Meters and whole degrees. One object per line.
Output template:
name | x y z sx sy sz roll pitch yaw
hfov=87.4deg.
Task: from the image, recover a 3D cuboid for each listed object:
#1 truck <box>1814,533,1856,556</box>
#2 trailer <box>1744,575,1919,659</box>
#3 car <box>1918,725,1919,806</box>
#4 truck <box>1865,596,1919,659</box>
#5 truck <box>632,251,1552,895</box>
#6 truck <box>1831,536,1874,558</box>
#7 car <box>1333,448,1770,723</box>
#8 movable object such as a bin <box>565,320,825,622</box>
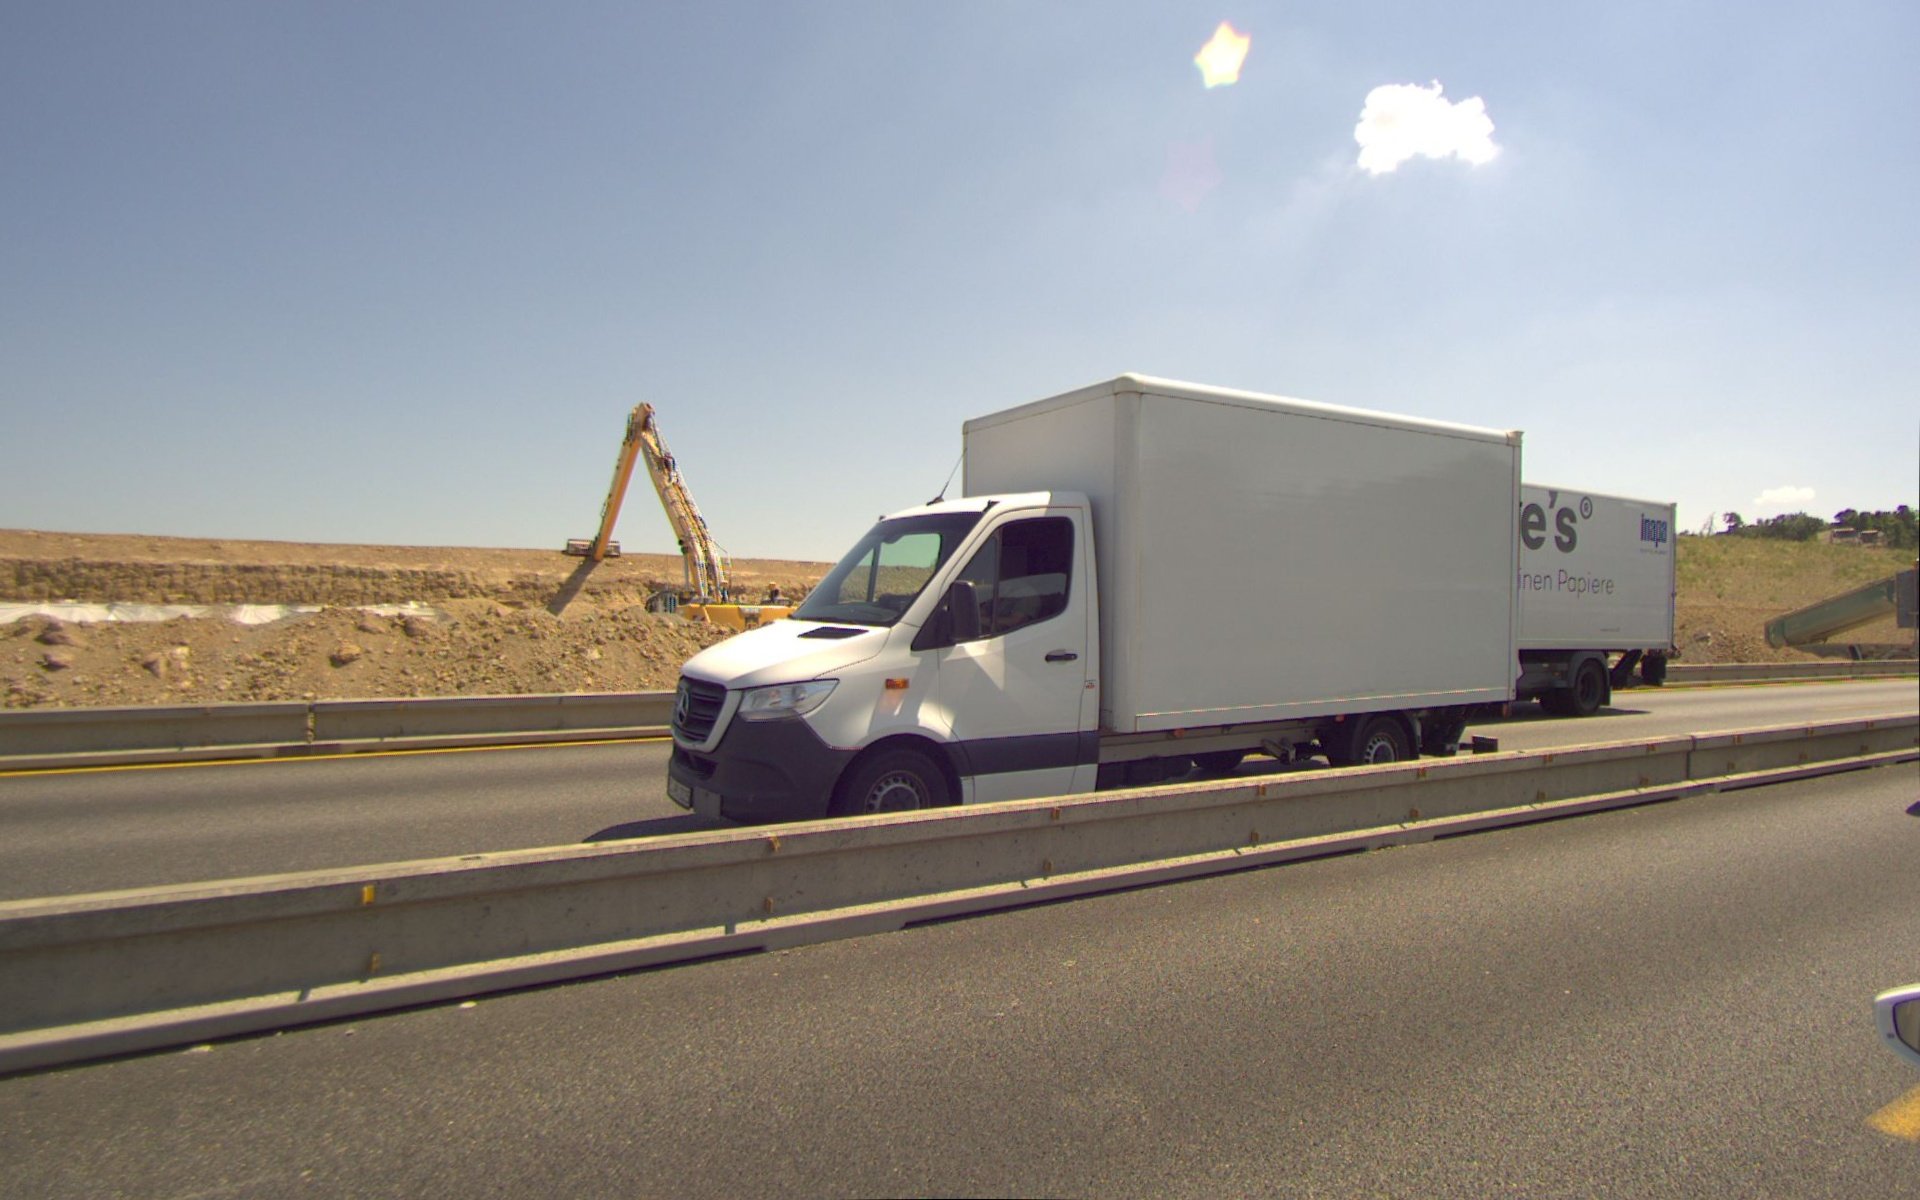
truck | 130.174 -8.196 149.486 2.317 2.937 8.362 2 0 24
trailer | 47.090 0.862 54.176 2.745 4.152 8.367 2 0 -2
car | 10.314 0.795 8.651 4.726 1.849 1.743 1 1 -30
truck | 48.444 1.429 49.544 4.964 3.003 2.586 2 0 22
truck | 1.437 -0.052 7.827 7.230 3.192 2.259 2 0 -31
truck | 136.243 -7.997 153.389 2.259 2.785 8.900 2 0 24
car | 10.286 -0.168 17.185 7.996 3.790 2.894 1 1 -31
movable object such as a bin | -9.306 -3.069 31.795 3.348 6.863 18.135 2 0 -29
